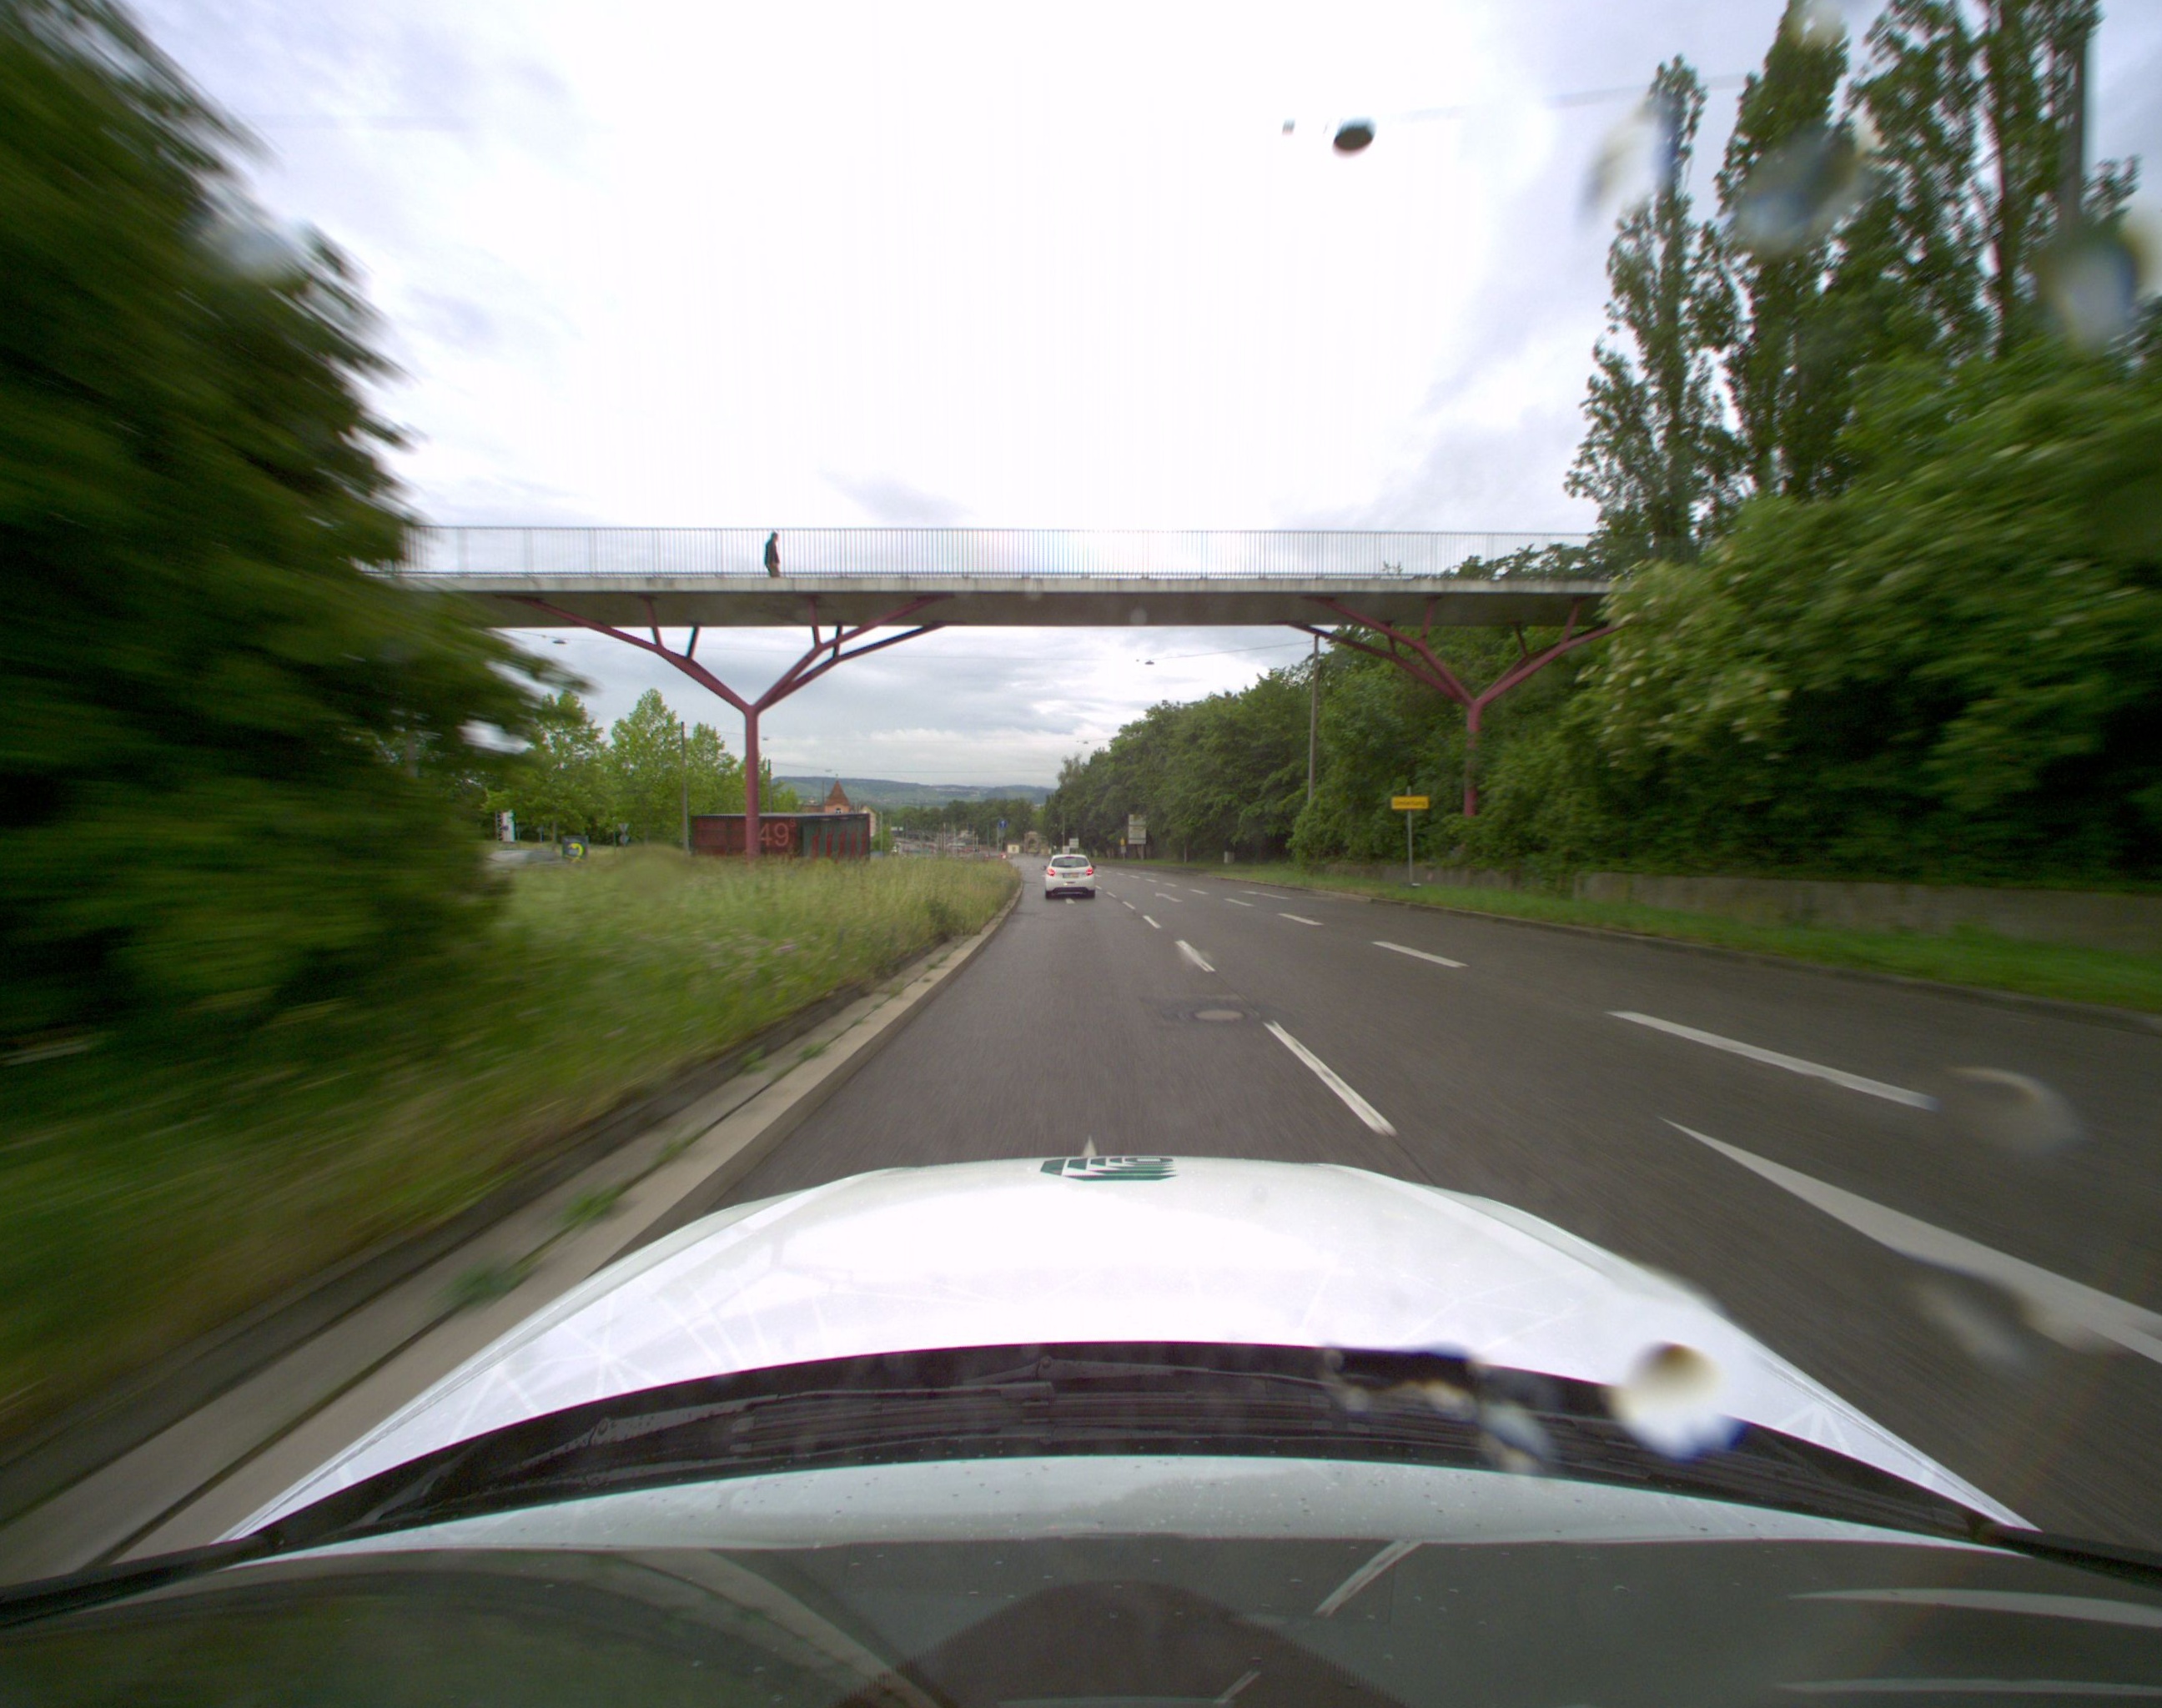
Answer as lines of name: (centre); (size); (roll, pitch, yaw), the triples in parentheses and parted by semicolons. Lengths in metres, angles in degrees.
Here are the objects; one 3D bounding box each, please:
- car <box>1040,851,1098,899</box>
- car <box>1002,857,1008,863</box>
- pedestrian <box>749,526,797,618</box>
car: (-0.428, 0.676, 28.501); (1.863, 1.511, 3.897); (-1, 1, -2)
car: (-22.104, 1.669, 237.094); (1.819, 1.606, 3.994); (-3, 0, -4)
pedestrian: (-8.126, -7.439, 21.542); (0.912, 2.143, 0.731); (-3, 0, -3)
